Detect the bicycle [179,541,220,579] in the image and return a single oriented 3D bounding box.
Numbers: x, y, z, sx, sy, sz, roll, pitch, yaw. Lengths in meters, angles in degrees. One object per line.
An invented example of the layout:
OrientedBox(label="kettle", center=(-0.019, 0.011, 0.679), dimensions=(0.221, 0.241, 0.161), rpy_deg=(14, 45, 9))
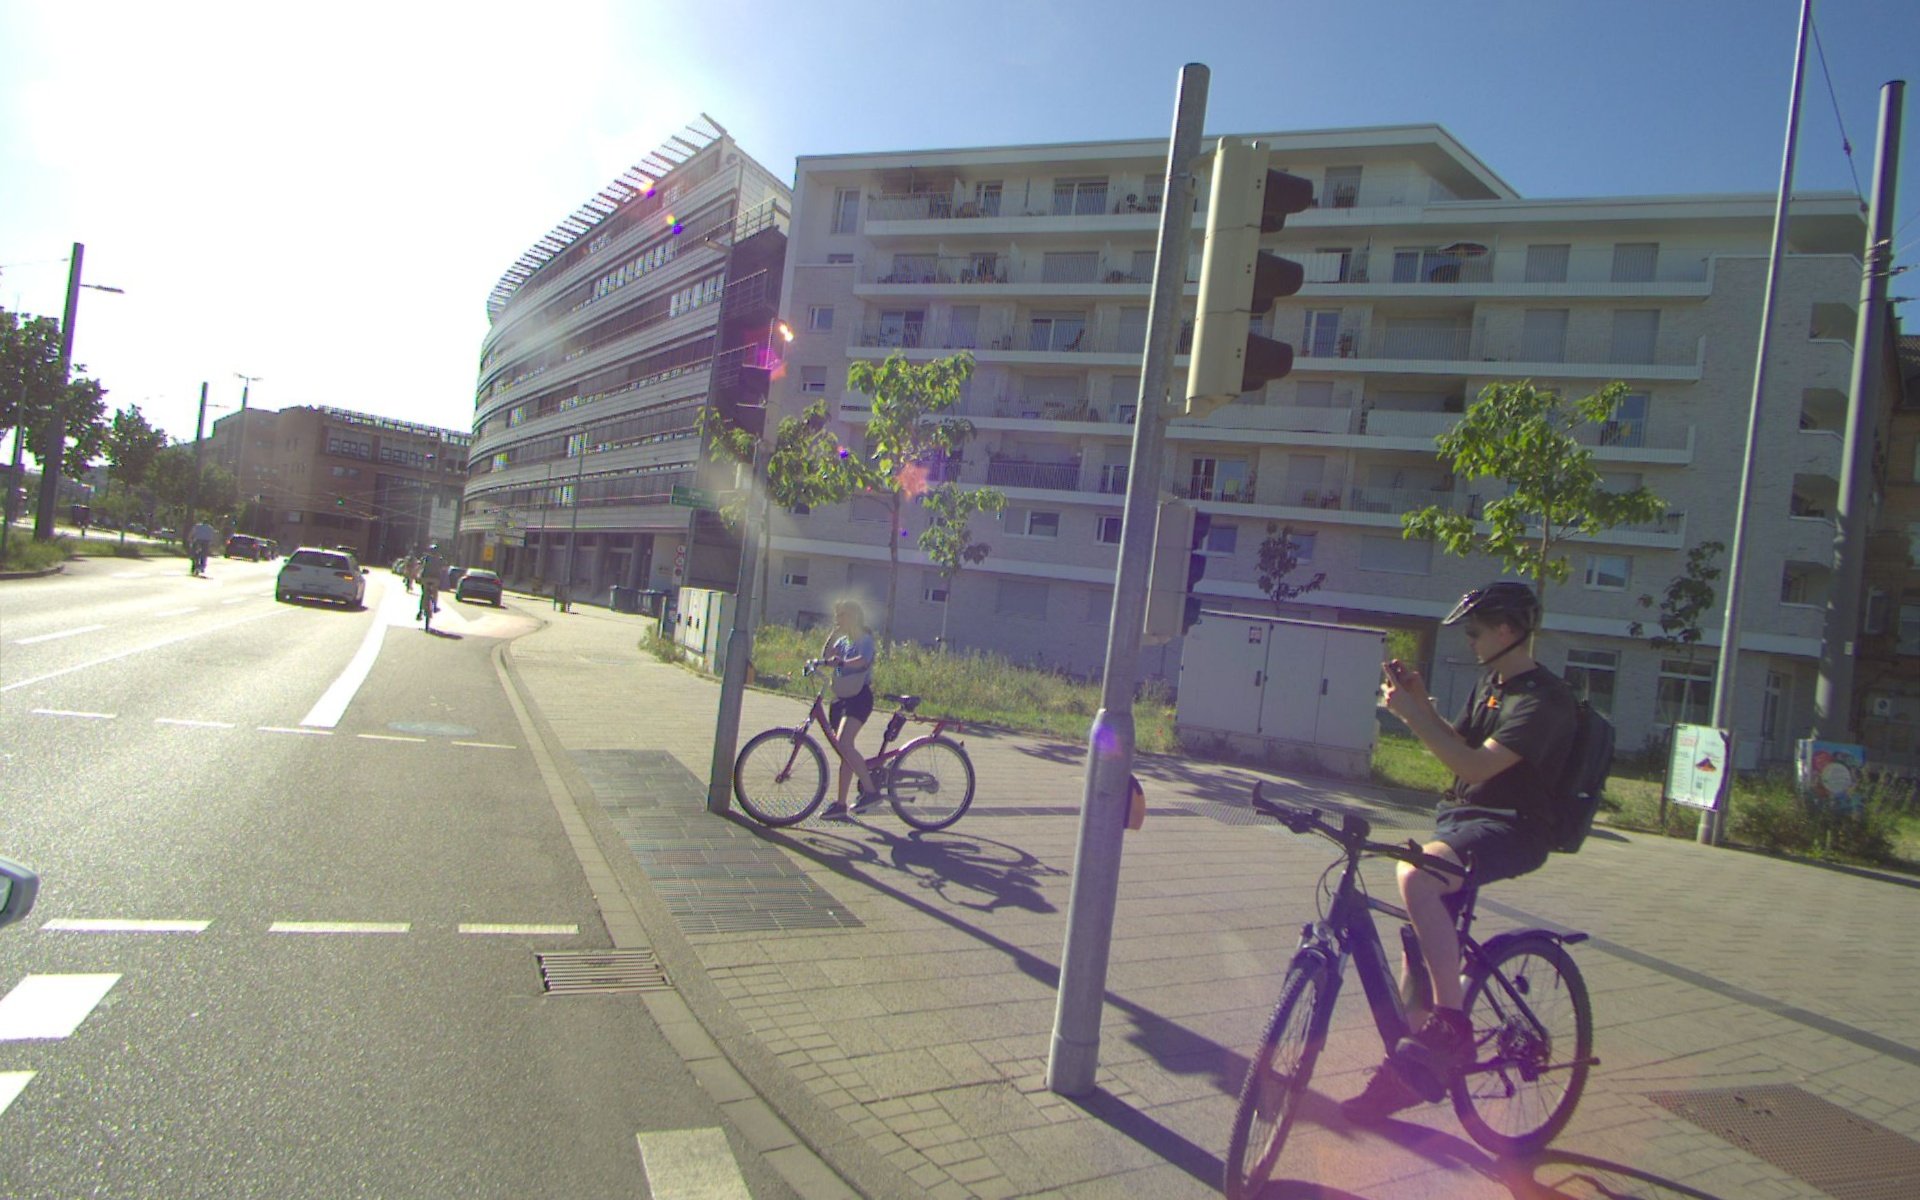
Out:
OrientedBox(label="bicycle", center=(-24.747, -1.309, 32.774), dimensions=(0.682, 1.081, 2.675), rpy_deg=(9, -2, -32))

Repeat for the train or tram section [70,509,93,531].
OrientedBox(label="train or tram section", center=(-140.519, -12.712, 160.801), dimensions=(2.319, 3.038, 13.005), rpy_deg=(8, -2, -42))

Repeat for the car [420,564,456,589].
OrientedBox(label="car", center=(-36.017, -1.615, 69.362), dimensions=(1.710, 1.412, 4.749), rpy_deg=(8, -2, -32))

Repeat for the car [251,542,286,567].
OrientedBox(label="car", center=(-48.764, -3.213, 70.954), dimensions=(1.715, 1.466, 4.484), rpy_deg=(8, -2, -32))

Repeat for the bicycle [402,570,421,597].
OrientedBox(label="bicycle", center=(-25.126, -0.762, 46.082), dimensions=(0.643, 1.123, 1.746), rpy_deg=(7, -1, -28))

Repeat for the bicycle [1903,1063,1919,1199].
OrientedBox(label="bicycle", center=(3.409, 1.398, 2.553), dimensions=(1.984, 1.118, 0.693), rpy_deg=(6, 0, -22))

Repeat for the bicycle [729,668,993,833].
OrientedBox(label="bicycle", center=(-0.713, 1.068, 7.178), dimensions=(1.682, 0.966, 0.694), rpy_deg=(6, 0, -19))

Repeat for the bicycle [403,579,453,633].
OrientedBox(label="bicycle", center=(-11.953, 0.120, 22.653), dimensions=(0.819, 1.048, 1.879), rpy_deg=(9, -2, -27))

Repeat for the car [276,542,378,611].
OrientedBox(label="car", center=(-16.867, -0.633, 26.976), dimensions=(1.759, 1.418, 4.266), rpy_deg=(10, -3, -27))

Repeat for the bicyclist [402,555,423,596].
OrientedBox(label="bicyclist", center=(-25.094, -1.137, 46.158), dimensions=(0.643, 1.774, 1.038), rpy_deg=(7, 0, -27))

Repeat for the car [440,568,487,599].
OrientedBox(label="car", center=(-28.740, -0.982, 58.211), dimensions=(1.712, 1.438, 4.597), rpy_deg=(10, -3, -34))

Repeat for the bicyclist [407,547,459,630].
OrientedBox(label="bicyclist", center=(-11.814, -0.252, 22.578), dimensions=(0.800, 1.712, 1.044), rpy_deg=(9, -2, -27))

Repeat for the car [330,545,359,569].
OrientedBox(label="car", center=(-52.093, -3.660, 85.124), dimensions=(1.772, 1.722, 4.103), rpy_deg=(10, -3, -32))

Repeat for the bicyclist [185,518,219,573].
OrientedBox(label="bicyclist", center=(-24.733, -1.760, 32.837), dimensions=(0.614, 1.688, 1.011), rpy_deg=(9, -2, -32))

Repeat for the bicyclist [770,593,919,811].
OrientedBox(label="bicyclist", center=(-0.831, 0.708, 7.120), dimensions=(0.815, 1.421, 0.587), rpy_deg=(6, 1, -19))

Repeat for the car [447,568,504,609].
OrientedBox(label="car", center=(-22.092, -0.547, 45.800), dimensions=(1.710, 1.542, 4.362), rpy_deg=(8, -2, -32))

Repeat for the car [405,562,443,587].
OrientedBox(label="car", center=(-44.835, -2.156, 84.147), dimensions=(1.900, 1.601, 4.093), rpy_deg=(10, -3, -39))

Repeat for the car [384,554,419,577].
OrientedBox(label="car", center=(-48.888, -3.002, 87.974), dimensions=(1.899, 1.558, 4.095), rpy_deg=(10, -3, -38))

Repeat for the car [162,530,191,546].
OrientedBox(label="car", center=(-106.574, -8.458, 136.794), dimensions=(3.890, 1.747, 2.260), rpy_deg=(6, -2, 42))

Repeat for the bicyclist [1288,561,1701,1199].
OrientedBox(label="bicyclist", center=(1.666, 0.837, 3.168), dimensions=(0.894, 1.821, 0.547), rpy_deg=(6, 1, -24))

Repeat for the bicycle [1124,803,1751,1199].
OrientedBox(label="bicycle", center=(1.514, 1.240, 3.127), dimensions=(1.871, 1.051, 0.603), rpy_deg=(6, 0, -24))

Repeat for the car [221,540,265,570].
OrientedBox(label="car", center=(-44.607, -2.765, 62.641), dimensions=(1.713, 1.582, 3.651), rpy_deg=(7, -2, -29))

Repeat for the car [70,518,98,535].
OrientedBox(label="car", center=(-116.875, -9.800, 134.208), dimensions=(3.890, 1.747, 2.260), rpy_deg=(6, -2, 42))

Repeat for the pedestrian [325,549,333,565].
OrientedBox(label="pedestrian", center=(-68.692, -4.695, 109.487), dimensions=(0.484, 1.676, 0.478), rpy_deg=(6, -1, 40))
